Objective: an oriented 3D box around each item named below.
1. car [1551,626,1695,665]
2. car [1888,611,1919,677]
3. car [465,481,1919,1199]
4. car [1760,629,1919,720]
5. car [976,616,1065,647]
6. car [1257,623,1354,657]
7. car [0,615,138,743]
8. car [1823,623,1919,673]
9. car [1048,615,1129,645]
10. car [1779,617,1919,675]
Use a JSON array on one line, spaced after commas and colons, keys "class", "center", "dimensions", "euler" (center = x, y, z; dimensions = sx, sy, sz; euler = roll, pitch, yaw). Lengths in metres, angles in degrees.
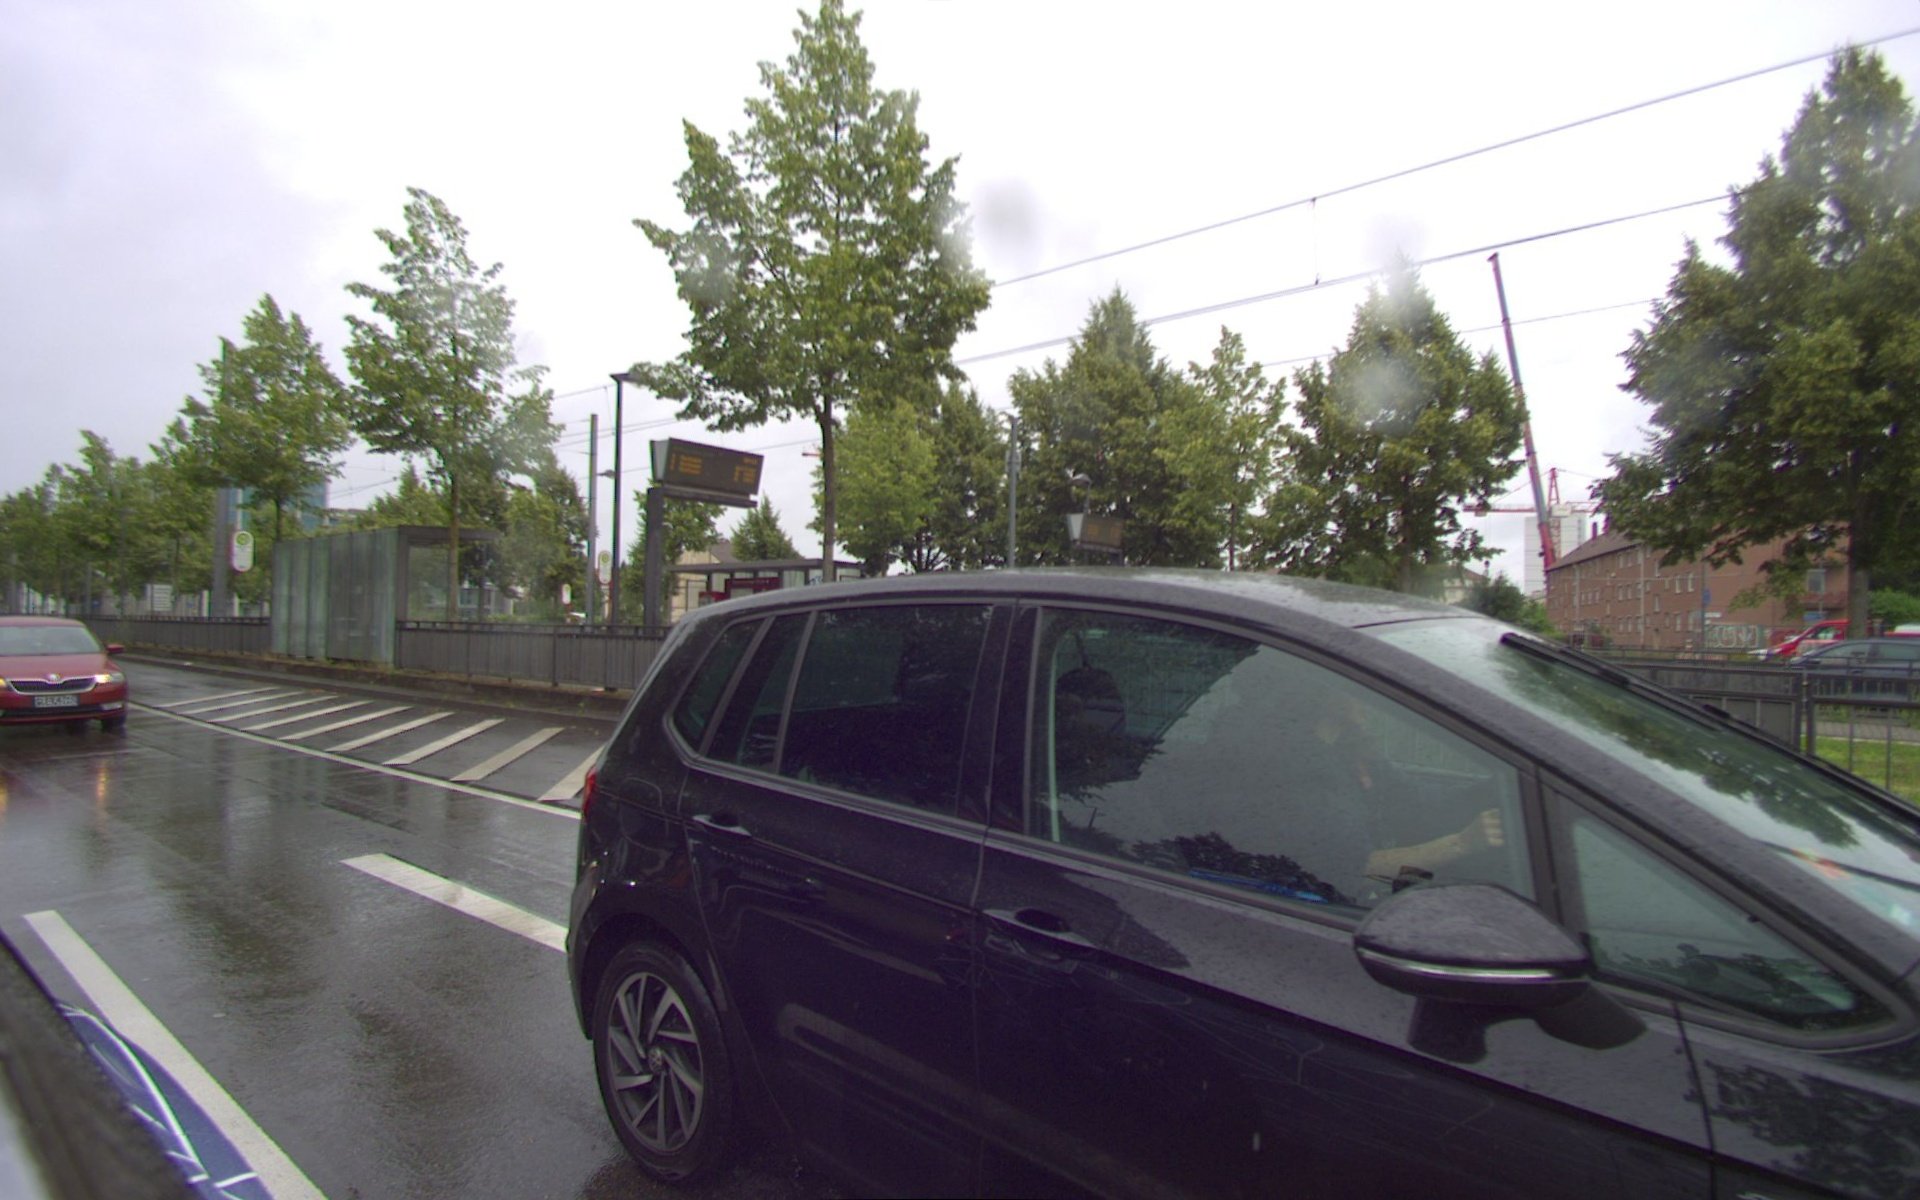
[{"class": "car", "center": [36.864, 2.485, 56.537], "dimensions": [6.393, 2.029, 2.336], "euler": [-1, 0, 26]}, {"class": "car", "center": [46.029, 1.985, 45.221], "dimensions": [2.319, 2.961, 6.441], "euler": [-1, 0, -38]}, {"class": "car", "center": [0.688, 0.654, 2.341], "dimensions": [4.330, 1.529, 1.765], "euler": [-1, 0, 41]}, {"class": "car", "center": [16.976, 1.312, 18.219], "dimensions": [3.995, 1.497, 1.808], "euler": [-1, 0, 38]}, {"class": "car", "center": [5.072, 2.663, 86.135], "dimensions": [7.627, 2.495, 2.327], "euler": [-1, 0, 38]}, {"class": "car", "center": [26.618, 3.043, 78.024], "dimensions": [6.804, 2.495, 2.335], "euler": [0, -2, 28]}, {"class": "car", "center": [-12.562, 0.951, 13.518], "dimensions": [4.313, 1.470, 1.765], "euler": [-1, 0, 41]}, {"class": "car", "center": [40.067, 1.979, 41.747], "dimensions": [2.319, 2.029, 6.440], "euler": [2, -3, -38]}, {"class": "car", "center": [11.319, 2.580, 89.324], "dimensions": [6.826, 2.495, 2.470], "euler": [-1, 0, 38]}, {"class": "car", "center": [34.802, 1.668, 37.593], "dimensions": [2.319, 2.029, 6.441], "euler": [-1, 0, -38]}]
